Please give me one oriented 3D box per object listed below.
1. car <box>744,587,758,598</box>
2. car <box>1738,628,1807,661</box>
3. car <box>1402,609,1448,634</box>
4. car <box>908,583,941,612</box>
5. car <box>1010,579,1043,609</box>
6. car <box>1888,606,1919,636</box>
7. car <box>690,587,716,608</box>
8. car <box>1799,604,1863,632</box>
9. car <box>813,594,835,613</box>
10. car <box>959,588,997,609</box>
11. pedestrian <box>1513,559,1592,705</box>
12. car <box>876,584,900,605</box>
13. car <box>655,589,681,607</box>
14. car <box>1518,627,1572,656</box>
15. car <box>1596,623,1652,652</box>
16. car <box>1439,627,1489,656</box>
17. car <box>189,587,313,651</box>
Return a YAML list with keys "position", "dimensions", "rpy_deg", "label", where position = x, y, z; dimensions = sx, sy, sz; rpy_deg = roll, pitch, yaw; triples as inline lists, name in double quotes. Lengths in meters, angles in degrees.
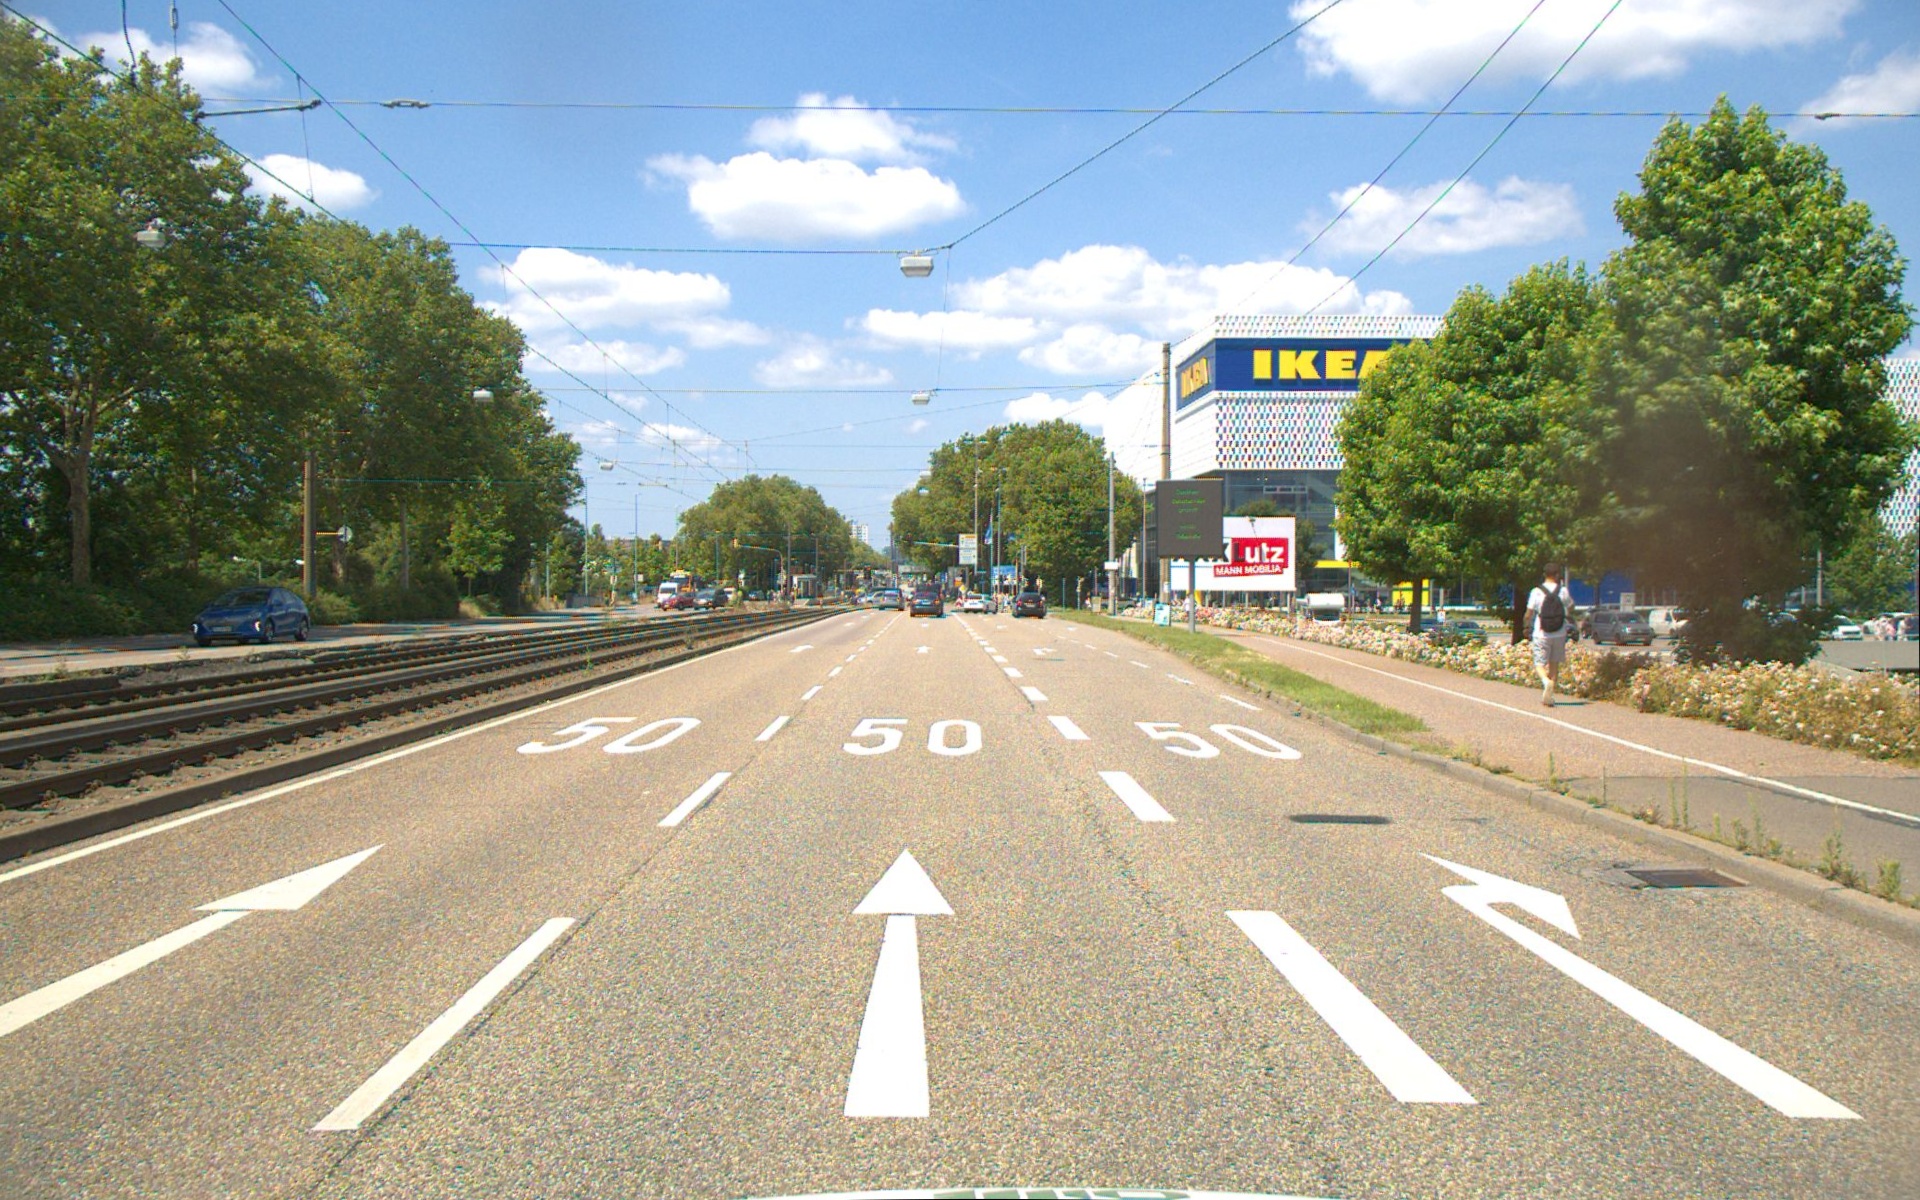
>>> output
- position: [-30.317, -1.070, 239.737]
  dimensions: [1.591, 1.577, 3.702]
  rpy_deg: [1, 0, -2]
  label: "car"
- position: [42.394, 2.302, 86.397]
  dimensions: [1.540, 1.508, 3.886]
  rpy_deg: [1, 0, -3]
  label: "car"
- position: [31.278, 1.407, 111.364]
  dimensions: [1.705, 1.567, 3.997]
  rpy_deg: [1, 0, -4]
  label: "car"
- position: [-2.104, -0.157, 96.081]
  dimensions: [1.838, 1.566, 3.775]
  rpy_deg: [1, 0, -2]
  label: "car"
- position: [4.157, -0.386, 103.897]
  dimensions: [1.861, 1.837, 3.976]
  rpy_deg: [1, 0, -1]
  label: "car"
- position: [50.103, 1.119, 85.818]
  dimensions: [1.540, 1.508, 3.886]
  rpy_deg: [1, 0, -3]
  label: "car"
- position: [-21.039, -0.218, 135.606]
  dimensions: [1.590, 1.577, 3.983]
  rpy_deg: [2, 0, -2]
  label: "car"
- position: [51.143, 1.055, 97.194]
  dimensions: [1.540, 1.508, 3.886]
  rpy_deg: [1, 0, -3]
  label: "car"
- position: [-11.985, 0.268, 145.927]
  dimensions: [1.806, 1.577, 3.775]
  rpy_deg: [2, 0, -3]
  label: "car"
- position: [1.383, -0.121, 127.765]
  dimensions: [1.650, 1.577, 3.984]
  rpy_deg: [2, 0, 21]
  label: "car"
- position: [7.622, 0.396, 21.313]
  dimensions: [0.655, 1.823, 0.925]
  rpy_deg: [1, 0, 1]
  label: "pedestrian"
- position: [-5.609, -0.459, 129.109]
  dimensions: [1.806, 1.577, 3.775]
  rpy_deg: [2, 0, -3]
  label: "car"
- position: [-25.364, -0.184, 143.703]
  dimensions: [1.590, 1.577, 3.983]
  rpy_deg: [1, 0, -2]
  label: "car"
- position: [34.114, 2.411, 96.537]
  dimensions: [1.540, 1.508, 3.886]
  rpy_deg: [1, 0, -3]
  label: "car"
- position: [38.722, 2.171, 96.496]
  dimensions: [1.540, 1.508, 3.886]
  rpy_deg: [1, 0, -3]
  label: "car"
- position: [29.292, 2.411, 96.164]
  dimensions: [1.540, 1.508, 3.886]
  rpy_deg: [1, 0, -3]
  label: "car"
- position: [-18.520, 0.460, 43.412]
  dimensions: [1.612, 1.577, 4.214]
  rpy_deg: [1, 0, -3]
  label: "car"
